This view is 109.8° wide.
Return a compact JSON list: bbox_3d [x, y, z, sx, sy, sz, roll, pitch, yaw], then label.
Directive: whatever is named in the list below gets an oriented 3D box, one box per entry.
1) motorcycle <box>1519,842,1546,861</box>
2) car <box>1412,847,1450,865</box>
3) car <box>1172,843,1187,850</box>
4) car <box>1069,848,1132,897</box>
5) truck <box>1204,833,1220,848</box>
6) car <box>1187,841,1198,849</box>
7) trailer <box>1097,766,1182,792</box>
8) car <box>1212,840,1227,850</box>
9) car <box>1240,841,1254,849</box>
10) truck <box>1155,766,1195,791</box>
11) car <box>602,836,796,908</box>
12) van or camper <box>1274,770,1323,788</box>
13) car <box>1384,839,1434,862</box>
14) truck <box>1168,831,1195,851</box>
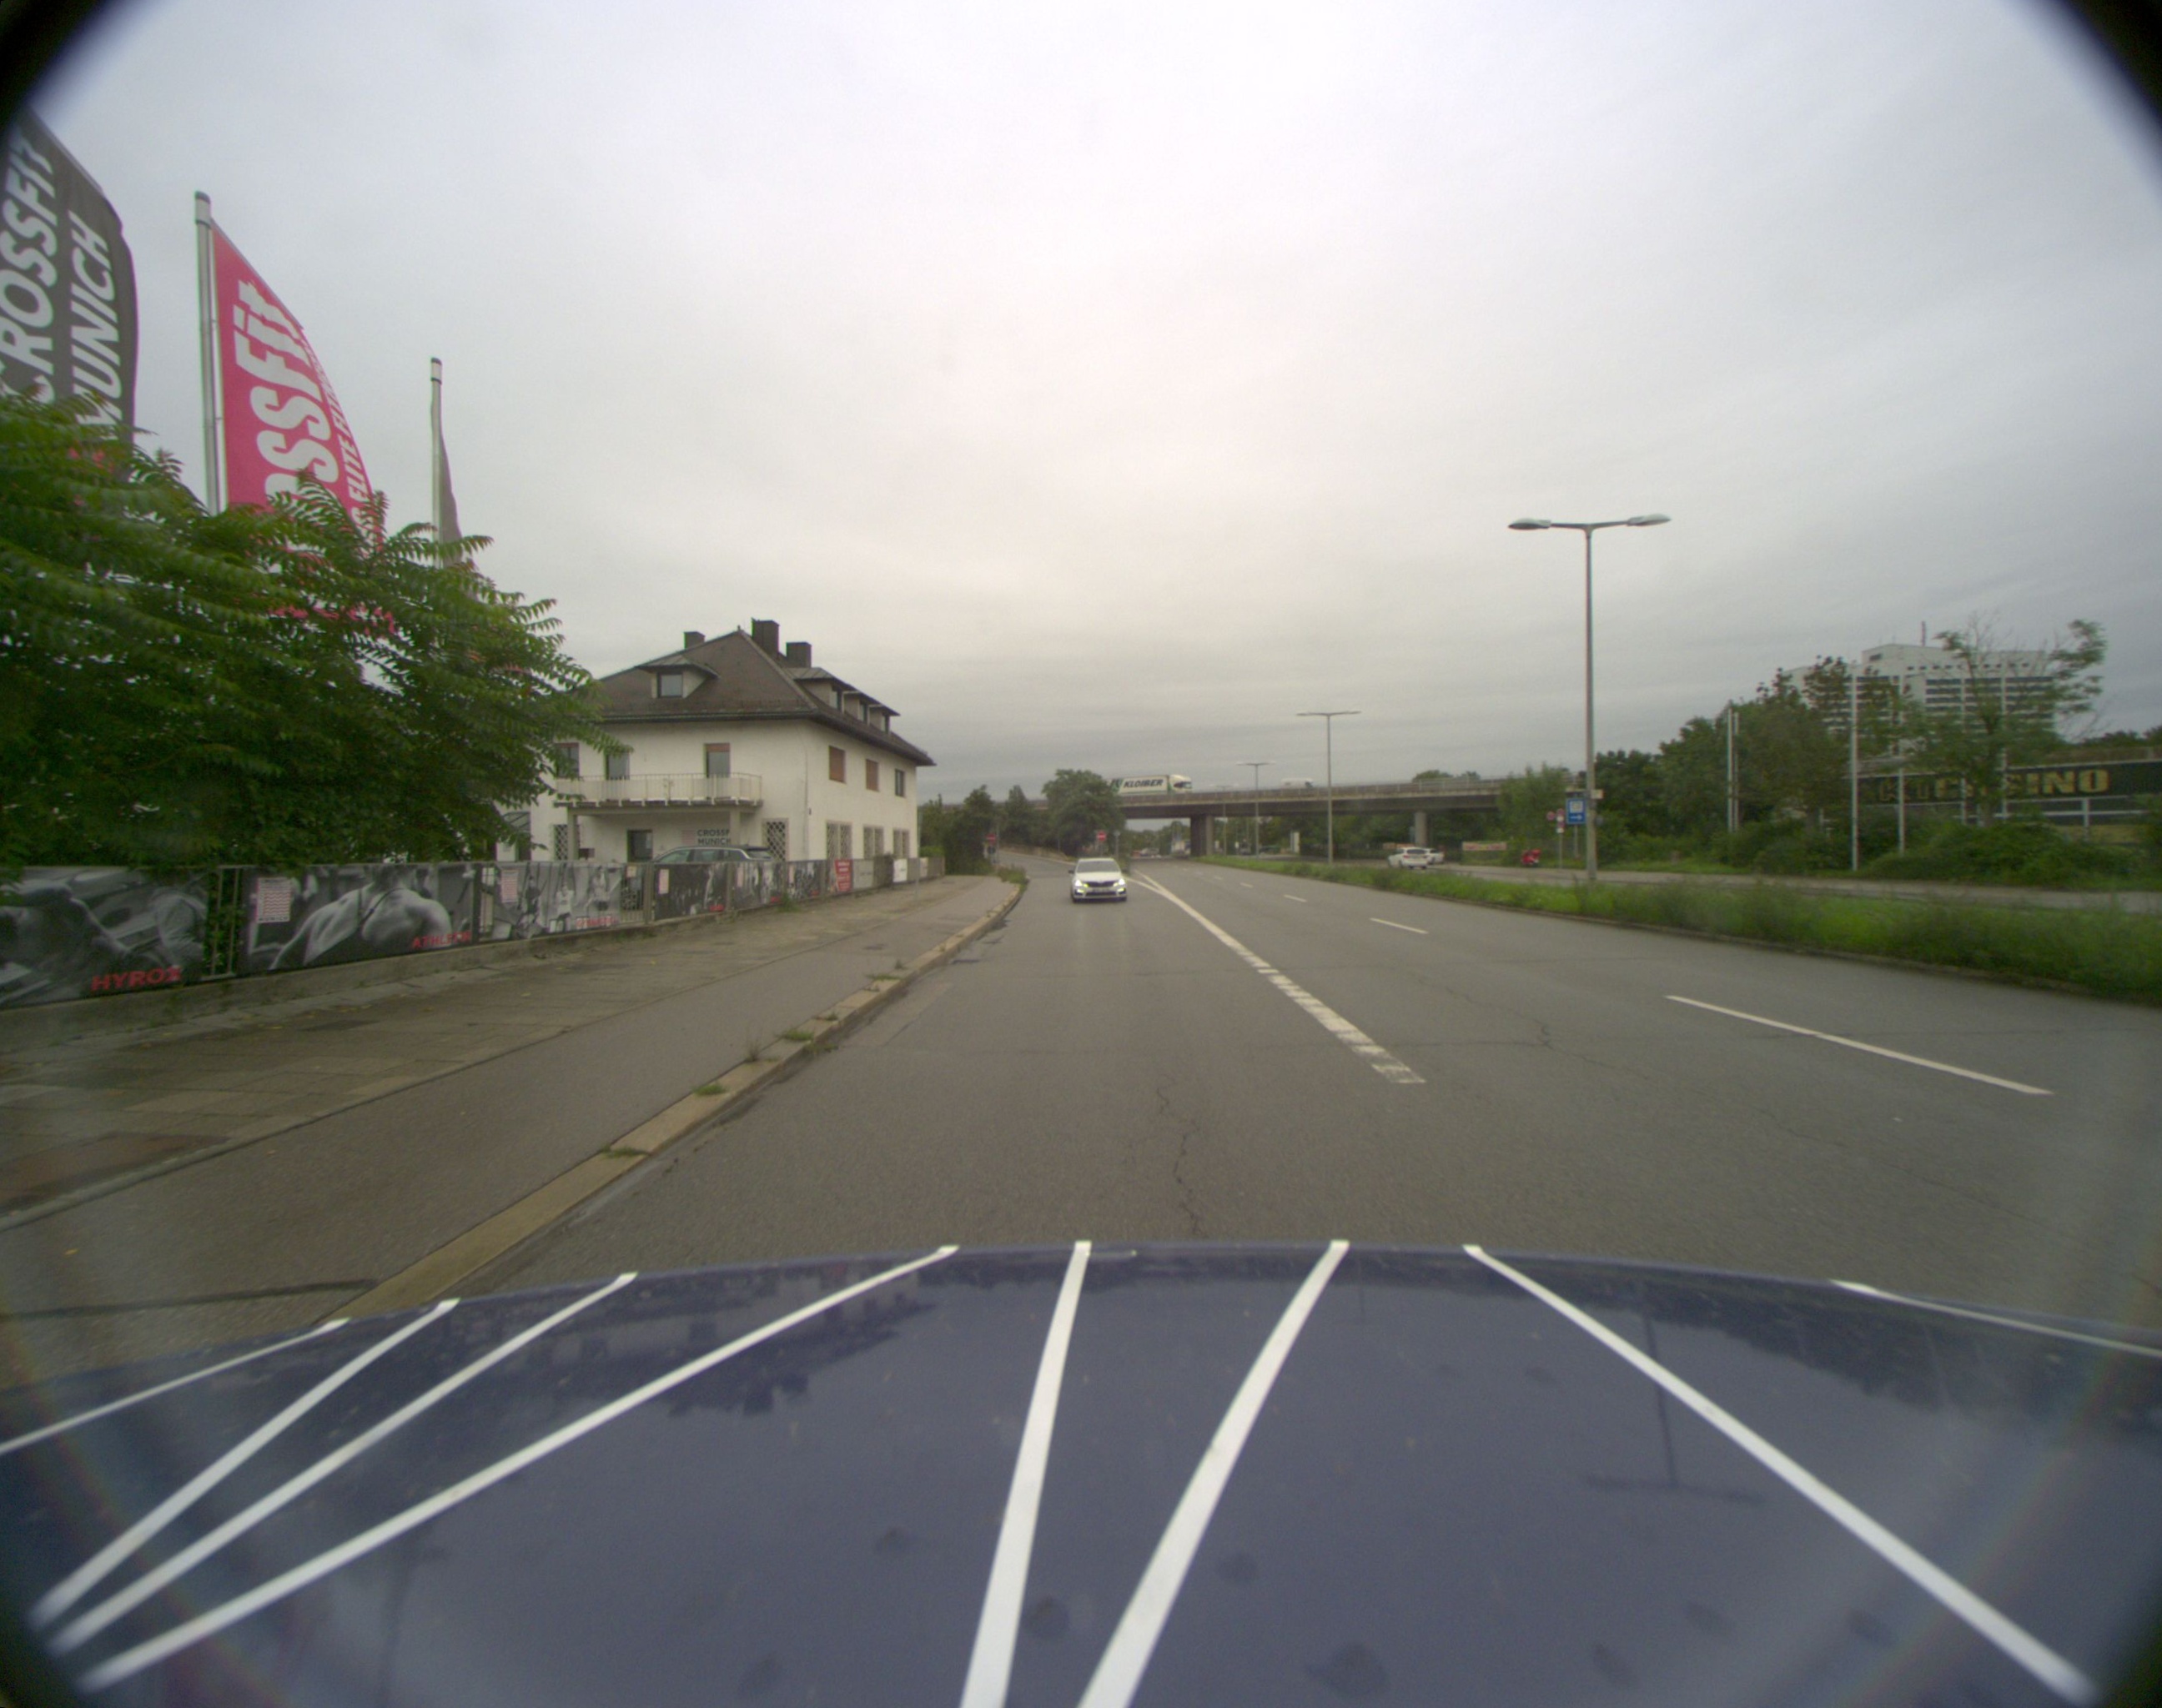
[{"bbox_3d":[29.296,-0.182,49.316,0.534,1.169,2.196,-1,1,3],"label":"motorcycle"},{"bbox_3d":[32.013,0.150,69.403,1.994,1.563,5.129,1,2,39],"label":"car"},{"bbox_3d":[23.479,-1.806,181.302,1.977,1.574,4.584,-1,0,-17],"label":"car"},{"bbox_3d":[0.682,0.581,25.994,1.914,1.439,4.556,-3,0,2],"label":"car"},{"bbox_3d":[26.608,-2.782,154.516,2.258,2.960,7.233,2,1,3],"label":"truck"},{"bbox_3d":[24.989,-2.093,170.576,1.973,1.574,4.590,2,2,1],"label":"car"},{"bbox_3d":[8.540,-11.050,113.443,14.016,3.280,2.671,2,4,42],"label":"trailer"},{"bbox_3d":[25.556,-1.657,140.371,1.973,1.574,4.590,2,2,2],"label":"car"},{"bbox_3d":[31.883,-1.698,146.036,1.973,1.389,4.817,0,2,5],"label":"car"},{"bbox_3d":[13.431,-10.780,109.010,5.178,3.229,2.602,2,4,42],"label":"truck"},{"bbox_3d":[-9.943,0.438,20.005,4.106,1.716,1.927,-1,1,2],"label":"car"},{"bbox_3d":[27.674,-9.532,96.758,5.490,2.003,2.336,1,3,42],"label":"van or camper"},{"bbox_3d":[24.017,-0.268,55.781,1.998,1.563,4.574,0,1,4],"label":"car"},{"bbox_3d":[24.905,-3.340,188.848,2.802,4.566,9.582,1,2,-18],"label":"truck"}]
